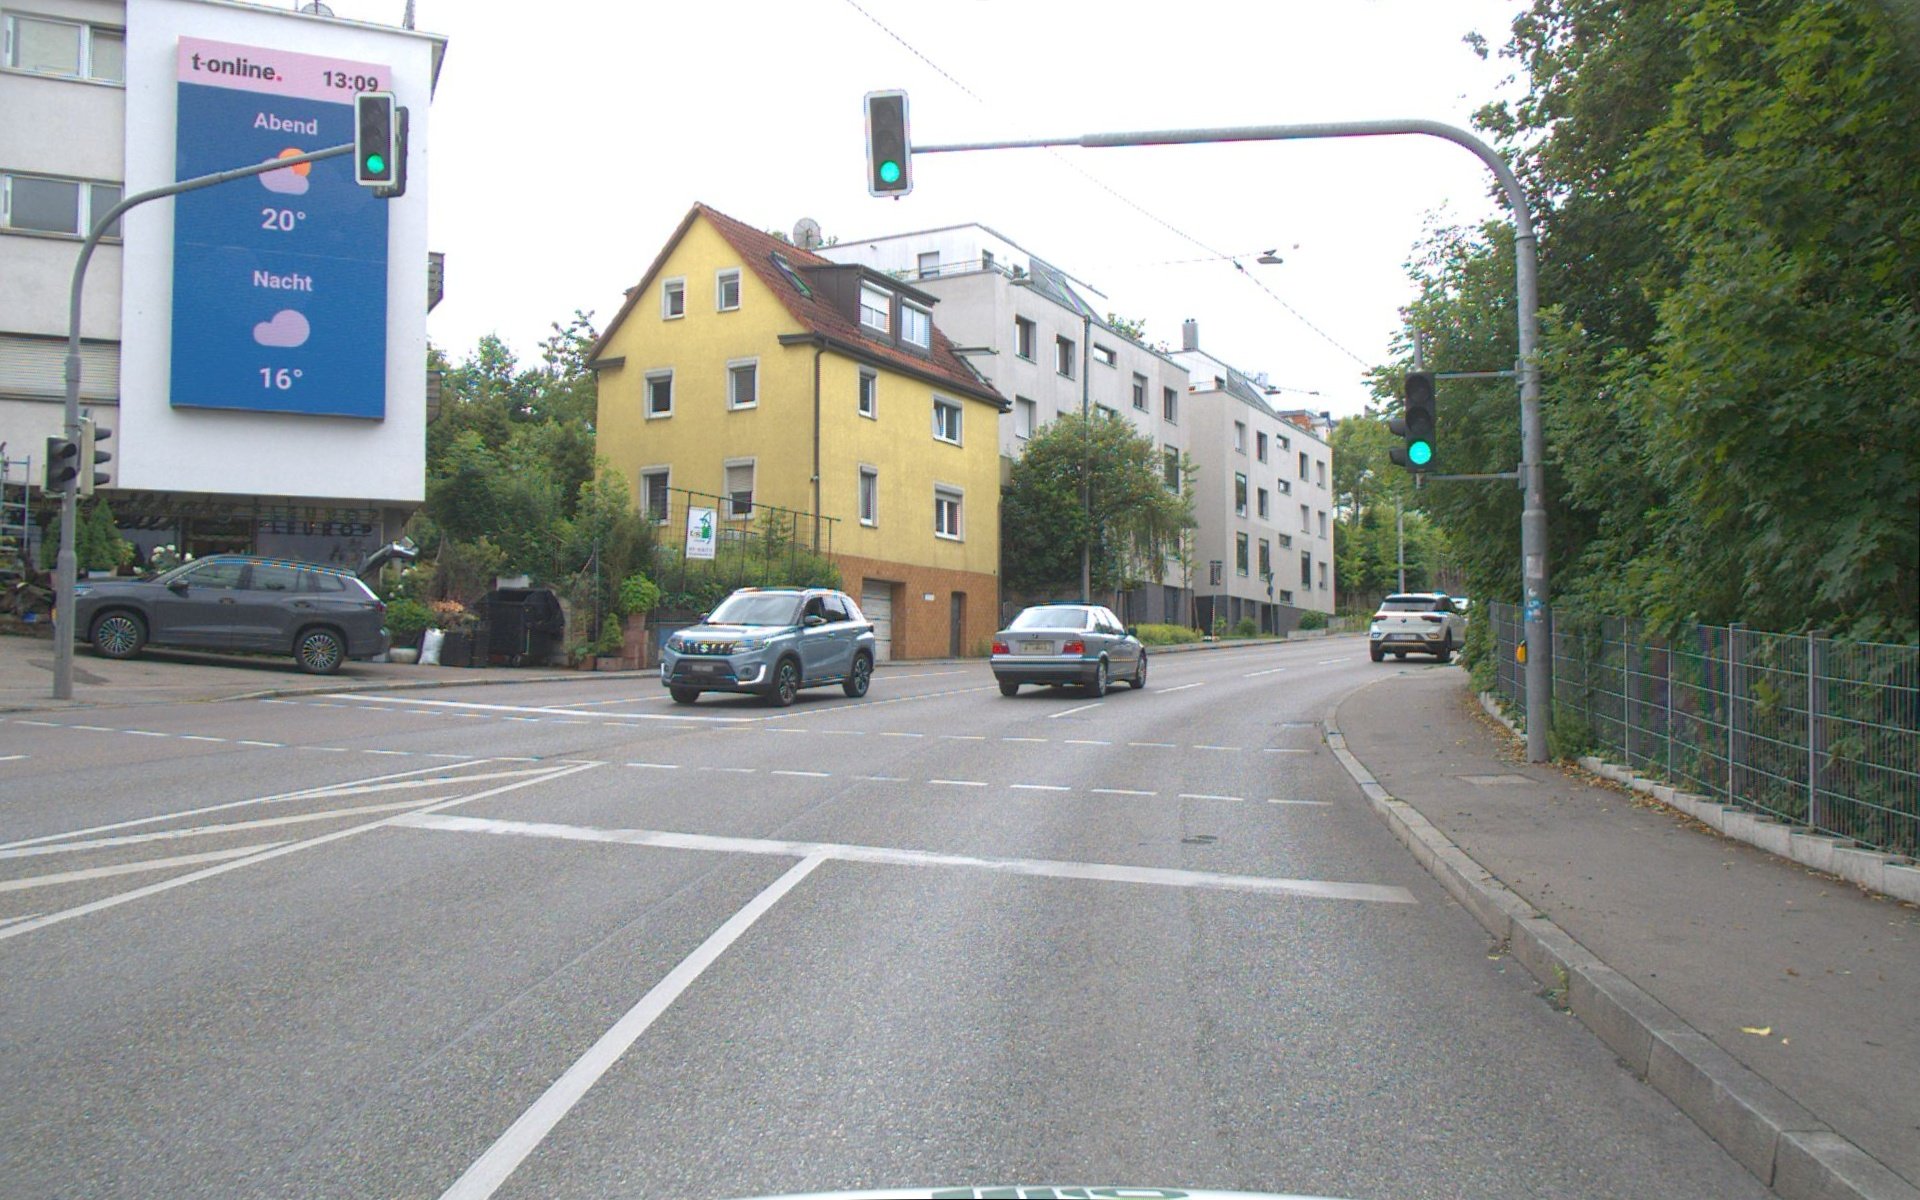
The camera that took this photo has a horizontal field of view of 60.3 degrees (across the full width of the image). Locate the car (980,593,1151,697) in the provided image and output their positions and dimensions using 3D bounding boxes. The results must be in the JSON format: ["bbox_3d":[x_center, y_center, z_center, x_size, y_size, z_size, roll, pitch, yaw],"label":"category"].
[{"bbox_3d":[1.750,0.657,26.096,1.671,1.489,4.001,-1,0,19],"label":"car"}]

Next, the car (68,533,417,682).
[{"bbox_3d":[-10.982,0.111,25.616,4.625,1.741,2.303,6,1,-23],"label":"car"}]

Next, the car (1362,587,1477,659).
[{"bbox_3d":[10.939,0.535,39.180,1.746,1.607,3.993,1,0,29],"label":"car"}]

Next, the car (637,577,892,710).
[{"bbox_3d":[-2.676,0.587,23.799,1.856,1.725,4.347,0,-1,20],"label":"car"}]

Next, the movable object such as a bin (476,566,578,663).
[{"bbox_3d":[-8.409,0.287,32.267,1.730,1.810,1.850,1,0,-10],"label":"movable object such as a bin"}]
